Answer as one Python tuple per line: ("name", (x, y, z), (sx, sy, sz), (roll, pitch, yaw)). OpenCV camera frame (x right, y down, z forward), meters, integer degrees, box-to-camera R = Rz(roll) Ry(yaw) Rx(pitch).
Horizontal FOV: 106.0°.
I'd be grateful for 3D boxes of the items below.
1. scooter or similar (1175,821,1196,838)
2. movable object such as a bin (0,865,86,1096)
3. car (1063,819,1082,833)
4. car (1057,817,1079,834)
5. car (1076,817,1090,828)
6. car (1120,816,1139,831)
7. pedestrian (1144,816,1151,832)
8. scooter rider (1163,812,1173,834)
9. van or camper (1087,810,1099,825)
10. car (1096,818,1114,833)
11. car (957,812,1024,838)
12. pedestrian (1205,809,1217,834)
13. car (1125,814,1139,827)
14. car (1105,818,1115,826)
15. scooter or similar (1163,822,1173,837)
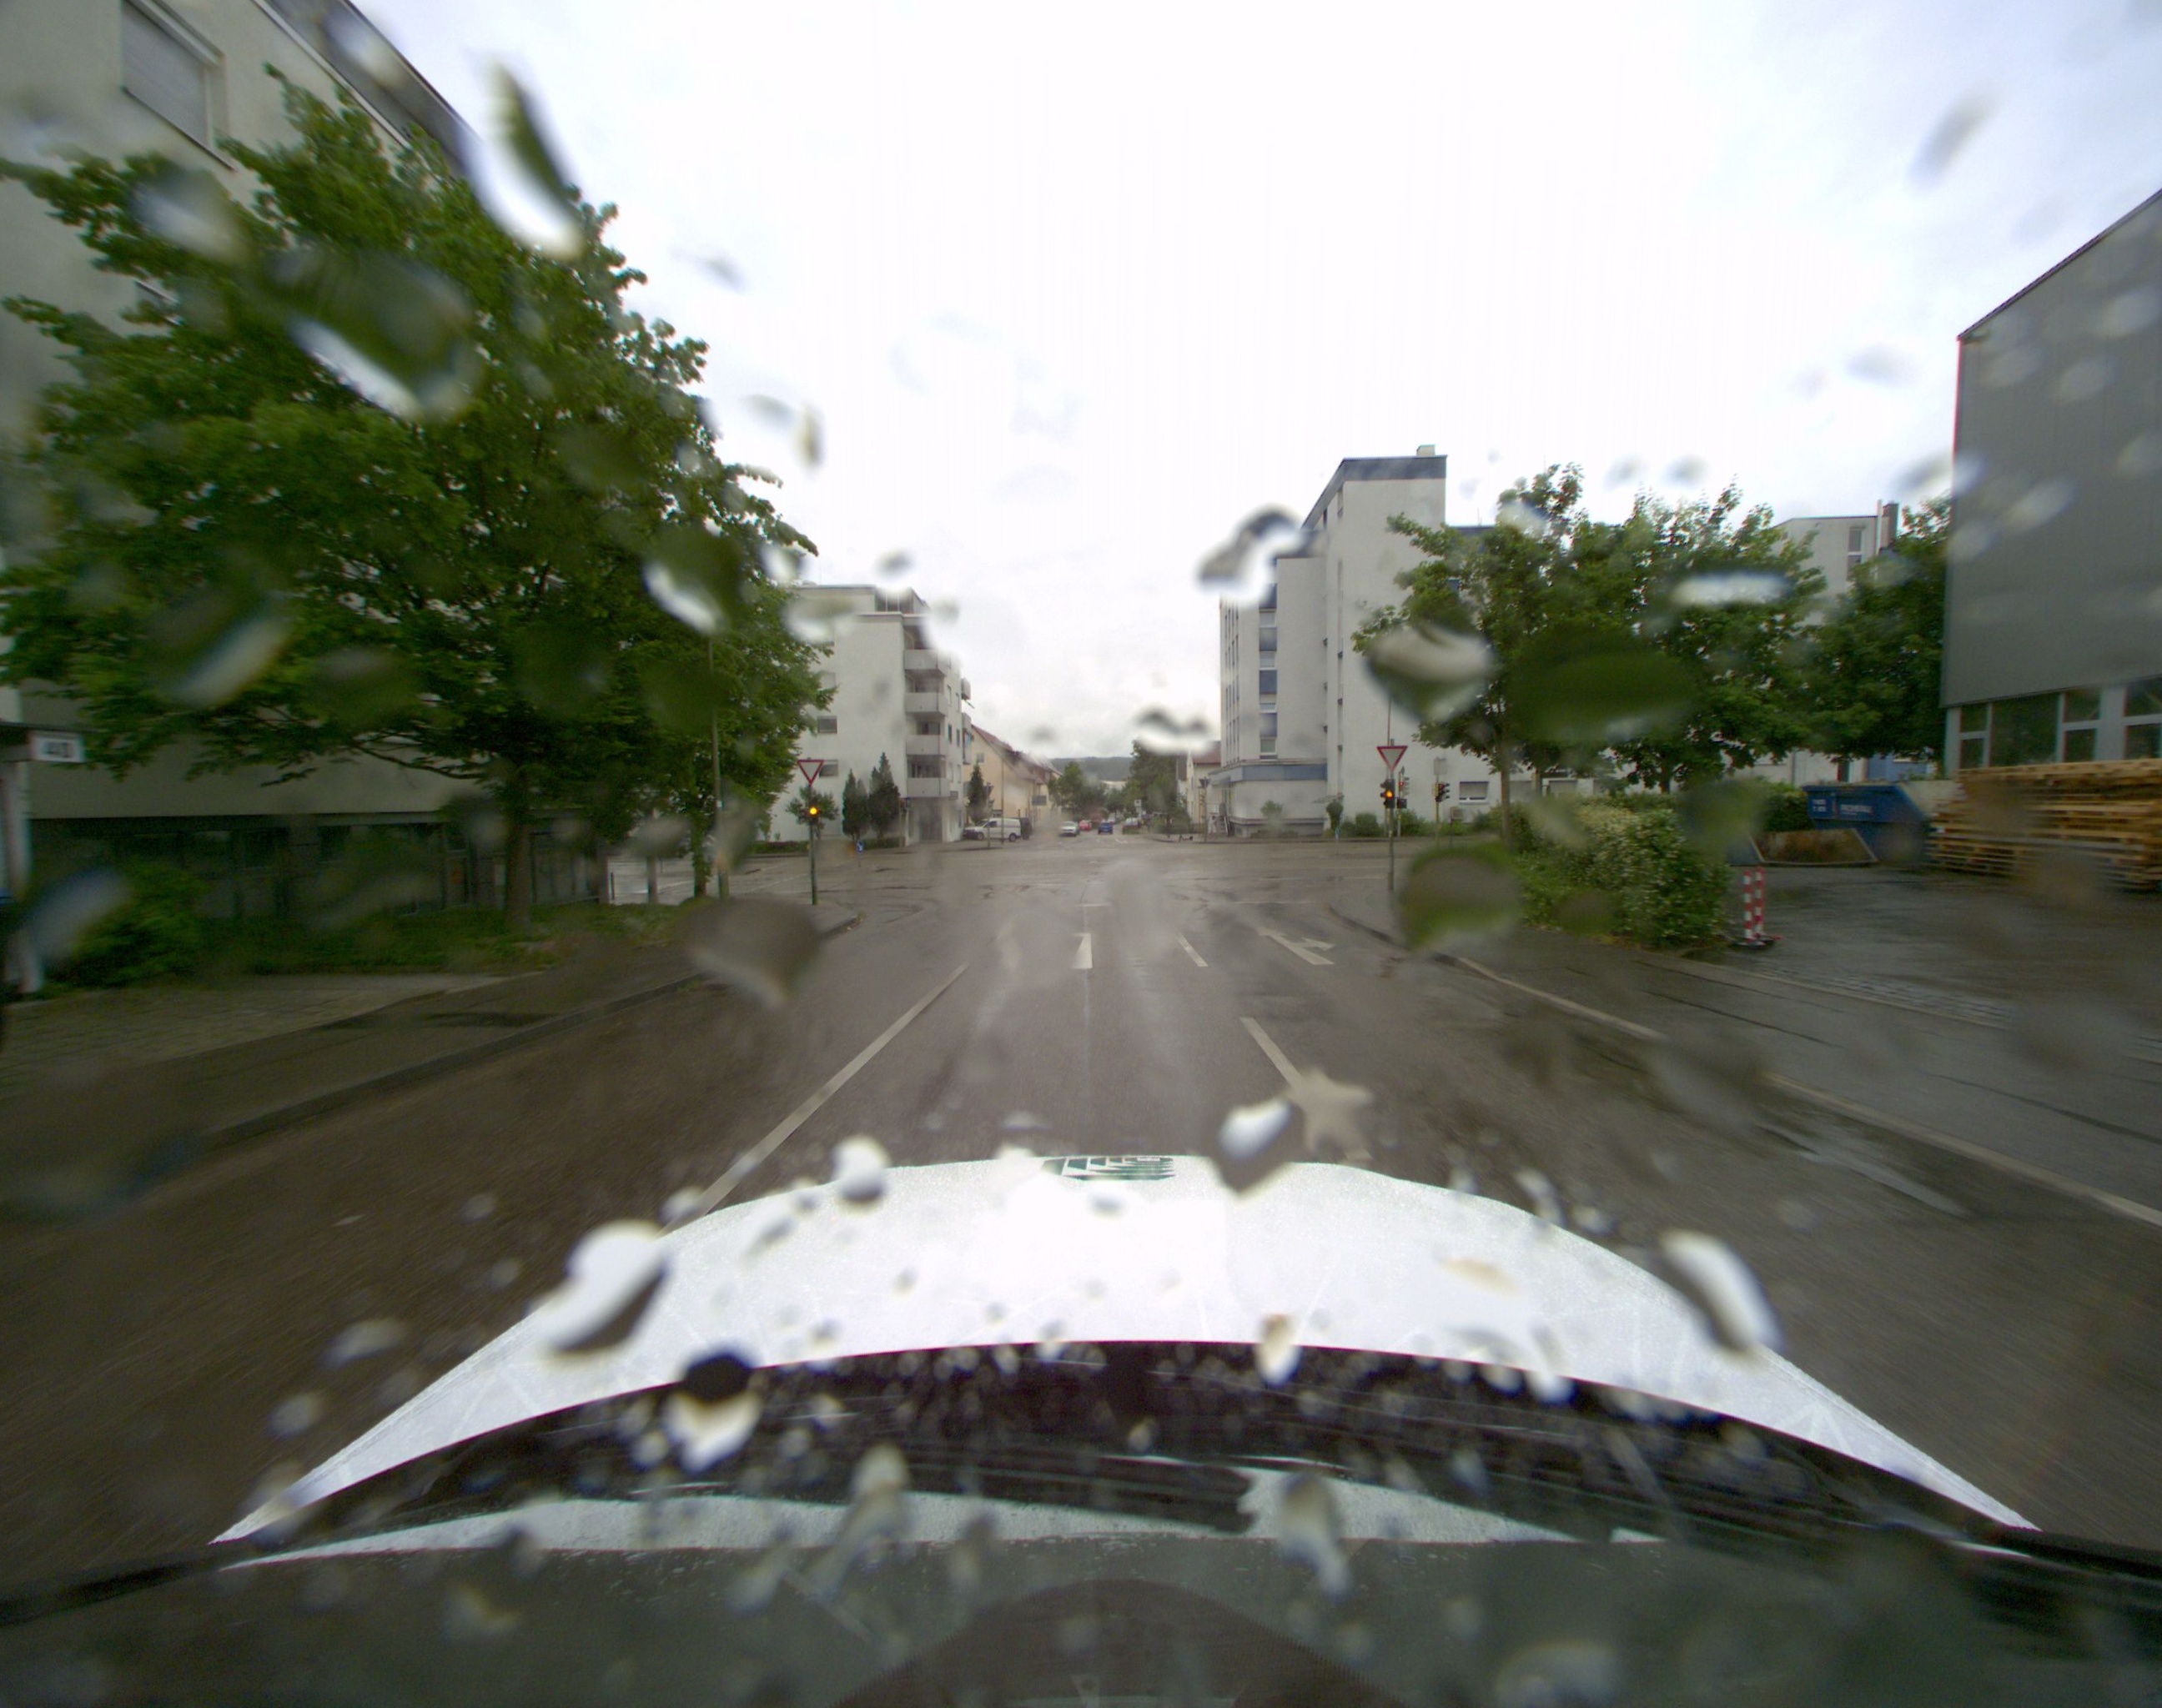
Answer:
("scooter or similar", (7.070, -1.676, 55.128), (1.265, 1.081, 0.876), (-3, 2, -3))
("movable object such as a bin", (-6.893, 0.754, 4.532), (1.068, 1.347, 1.319), (0, 1, 0))
("car", (-0.986, -3.317, 96.076), (1.985, 1.625, 4.195), (-2, 2, 3))
("car", (-1.335, -3.003, 84.674), (1.985, 1.625, 4.195), (-2, 2, 3))
("car", (0.289, -4.638, 121.101), (1.894, 1.558, 4.195), (-2, 2, 3))
("car", (5.803, -3.686, 98.006), (2.137, 1.589, 4.132), (-2, 2, 3))
("pedestrian", (7.838, -3.489, 95.943), (0.743, 1.848, 0.526), (1, 1, -1))
("scooter rider", (7.243, -2.609, 68.011), (0.748, 1.795, 0.674), (-2, 2, 4))
("van or camper", (2.167, -6.439, 143.638), (1.894, 2.513, 4.243), (-2, 2, 3))
("car", (2.793, -3.475, 97.451), (1.987, 1.683, 4.001), (-2, 2, 0))
("car", (-7.156, -2.318, 64.454), (4.867, 1.835, 1.978), (-4, 3, -36))
("pedestrian", (8.978, -2.238, 56.202), (0.646, 1.647, 0.525), (1, 1, -5))
("car", (7.446, -4.934, 120.048), (1.894, 1.745, 4.195), (-2, 2, 3))
("car", (6.108, -6.818, 171.218), (1.894, 1.558, 4.195), (-2, 2, 3))
("scooter or similar", (7.258, -2.057, 68.053), (0.753, 1.171, 1.316), (-2, 2, 4))
